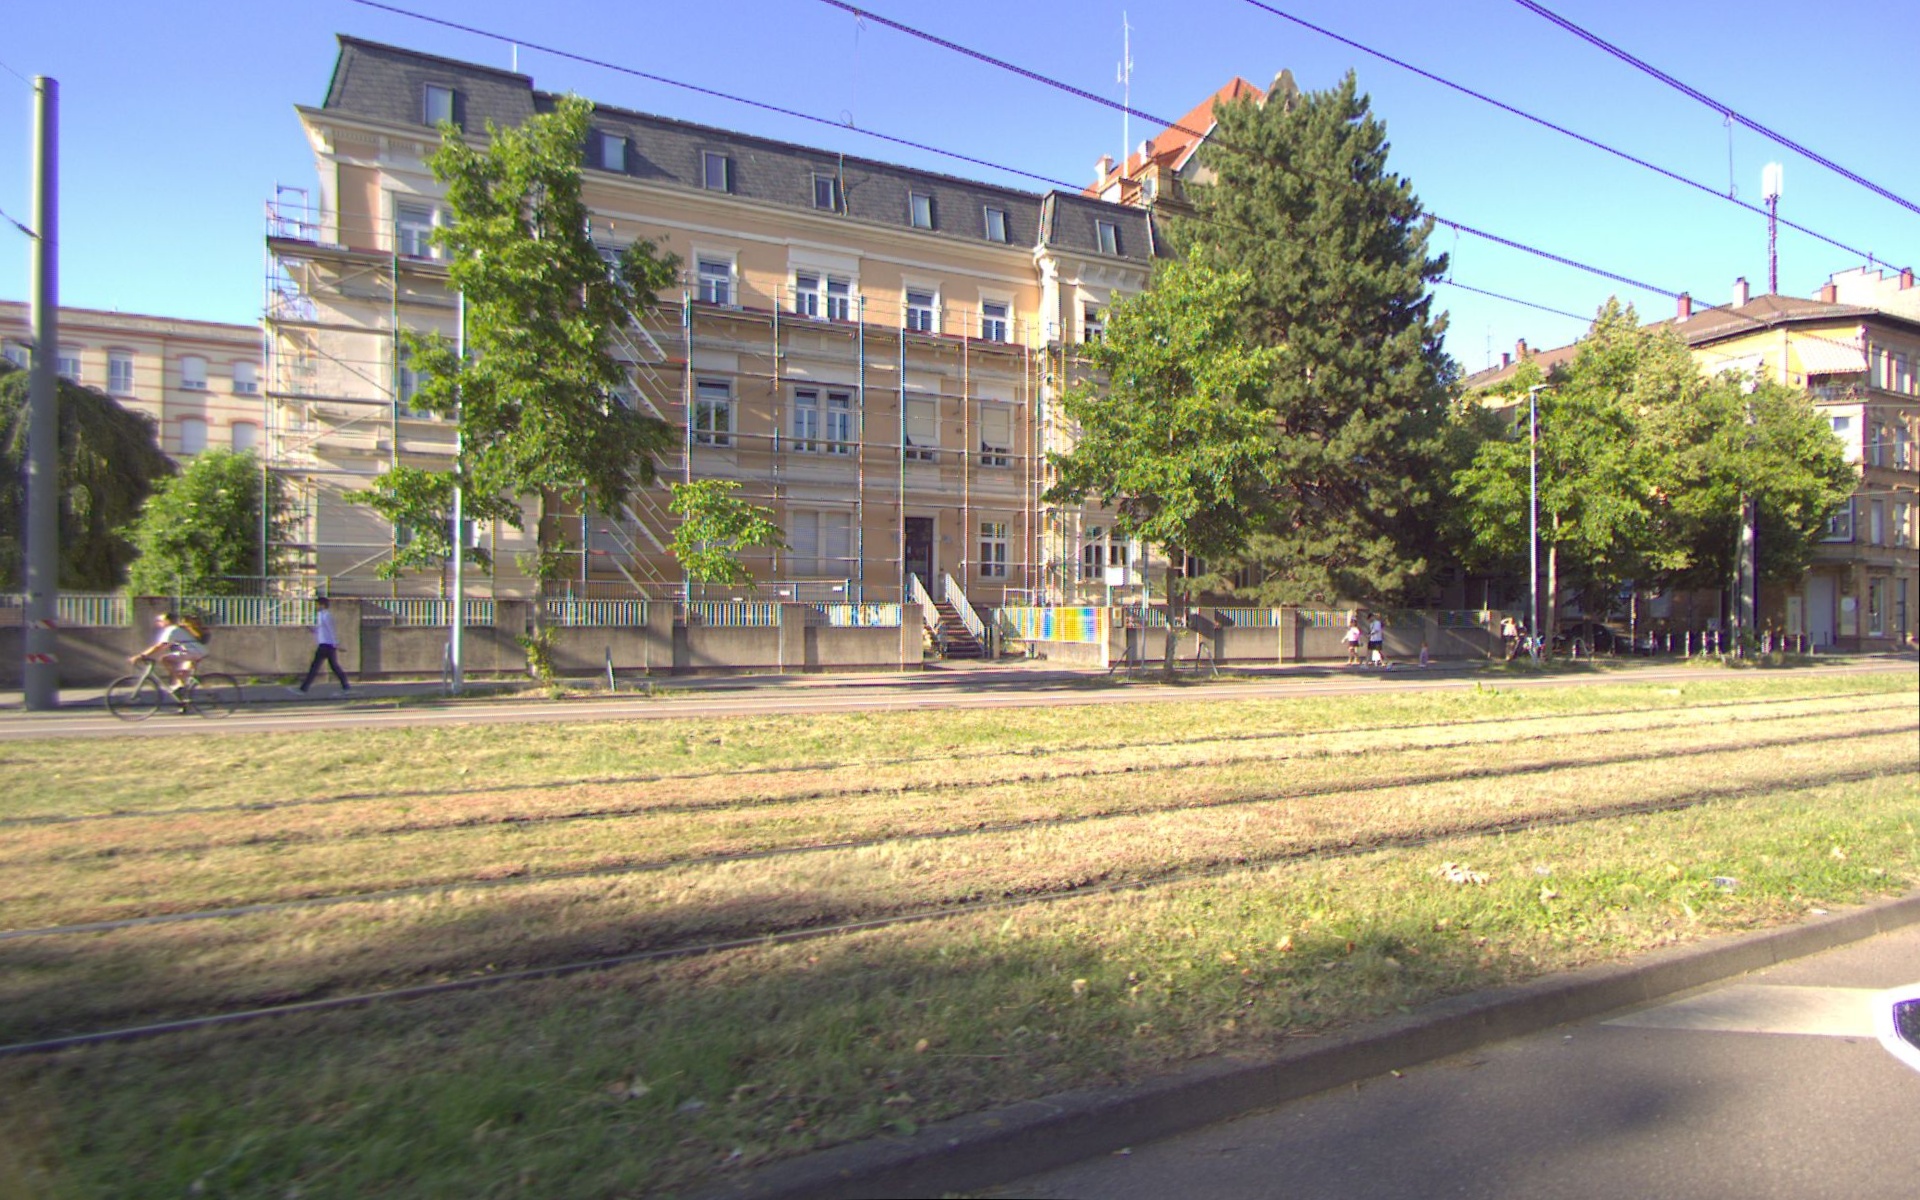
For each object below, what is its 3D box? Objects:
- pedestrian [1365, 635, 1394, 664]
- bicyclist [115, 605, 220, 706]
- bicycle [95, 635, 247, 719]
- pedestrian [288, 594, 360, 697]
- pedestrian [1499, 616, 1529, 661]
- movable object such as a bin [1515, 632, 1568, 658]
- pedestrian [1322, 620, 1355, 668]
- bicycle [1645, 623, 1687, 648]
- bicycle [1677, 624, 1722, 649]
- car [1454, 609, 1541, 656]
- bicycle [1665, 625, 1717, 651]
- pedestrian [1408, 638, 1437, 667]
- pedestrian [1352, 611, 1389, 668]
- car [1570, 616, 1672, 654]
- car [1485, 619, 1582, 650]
[{"bbox_3d":[13.667,1.612,32.742,0.577,0.944,0.648,1,-2,-26],"label":"pedestrian"},{"bbox_3d":[-12.377,0.847,15.728,1.118,1.501,0.772,1,1,-25],"label":"bicyclist"},{"bbox_3d":[-12.334,1.178,15.764,1.731,1.209,0.772,1,1,-25],"label":"bicycle"},{"bbox_3d":[-12.466,0.884,19.726,1.072,1.953,0.855,1,-2,-26],"label":"pedestrian"},{"bbox_3d":[20.748,1.435,37.607,0.787,1.614,0.616,1,1,-26],"label":"pedestrian"},{"bbox_3d":[21.820,1.674,37.711,1.220,0.876,1.240,1,1,-26],"label":"movable object such as a bin"},{"bbox_3d":[12.608,1.454,33.468,0.773,1.560,0.648,1,-2,-26],"label":"pedestrian"},{"bbox_3d":[35.337,1.776,50.268,2.211,1.194,0.782,1,1,-27],"label":"bicycle"},{"bbox_3d":[36.958,1.813,50.199,2.209,1.194,0.783,1,1,-23],"label":"bicycle"},{"bbox_3d":[25.875,1.513,48.535,1.960,2.041,4.616,1,1,5],"label":"car"},{"bbox_3d":[35.700,1.840,49.078,2.202,1.194,0.786,1,1,-13],"label":"bicycle"},{"bbox_3d":[15.276,1.730,33.200,0.576,0.944,0.649,1,-2,-19],"label":"pedestrian"},{"bbox_3d":[12.992,1.247,31.795,0.876,1.799,0.648,1,-2,-26],"label":"pedestrian"},{"bbox_3d":[29.049,1.522,44.323,1.960,1.491,4.194,1,0,5],"label":"car"},{"bbox_3d":[30.955,1.837,54.304,1.974,1.491,4.163,1,0,-27],"label":"car"}]
